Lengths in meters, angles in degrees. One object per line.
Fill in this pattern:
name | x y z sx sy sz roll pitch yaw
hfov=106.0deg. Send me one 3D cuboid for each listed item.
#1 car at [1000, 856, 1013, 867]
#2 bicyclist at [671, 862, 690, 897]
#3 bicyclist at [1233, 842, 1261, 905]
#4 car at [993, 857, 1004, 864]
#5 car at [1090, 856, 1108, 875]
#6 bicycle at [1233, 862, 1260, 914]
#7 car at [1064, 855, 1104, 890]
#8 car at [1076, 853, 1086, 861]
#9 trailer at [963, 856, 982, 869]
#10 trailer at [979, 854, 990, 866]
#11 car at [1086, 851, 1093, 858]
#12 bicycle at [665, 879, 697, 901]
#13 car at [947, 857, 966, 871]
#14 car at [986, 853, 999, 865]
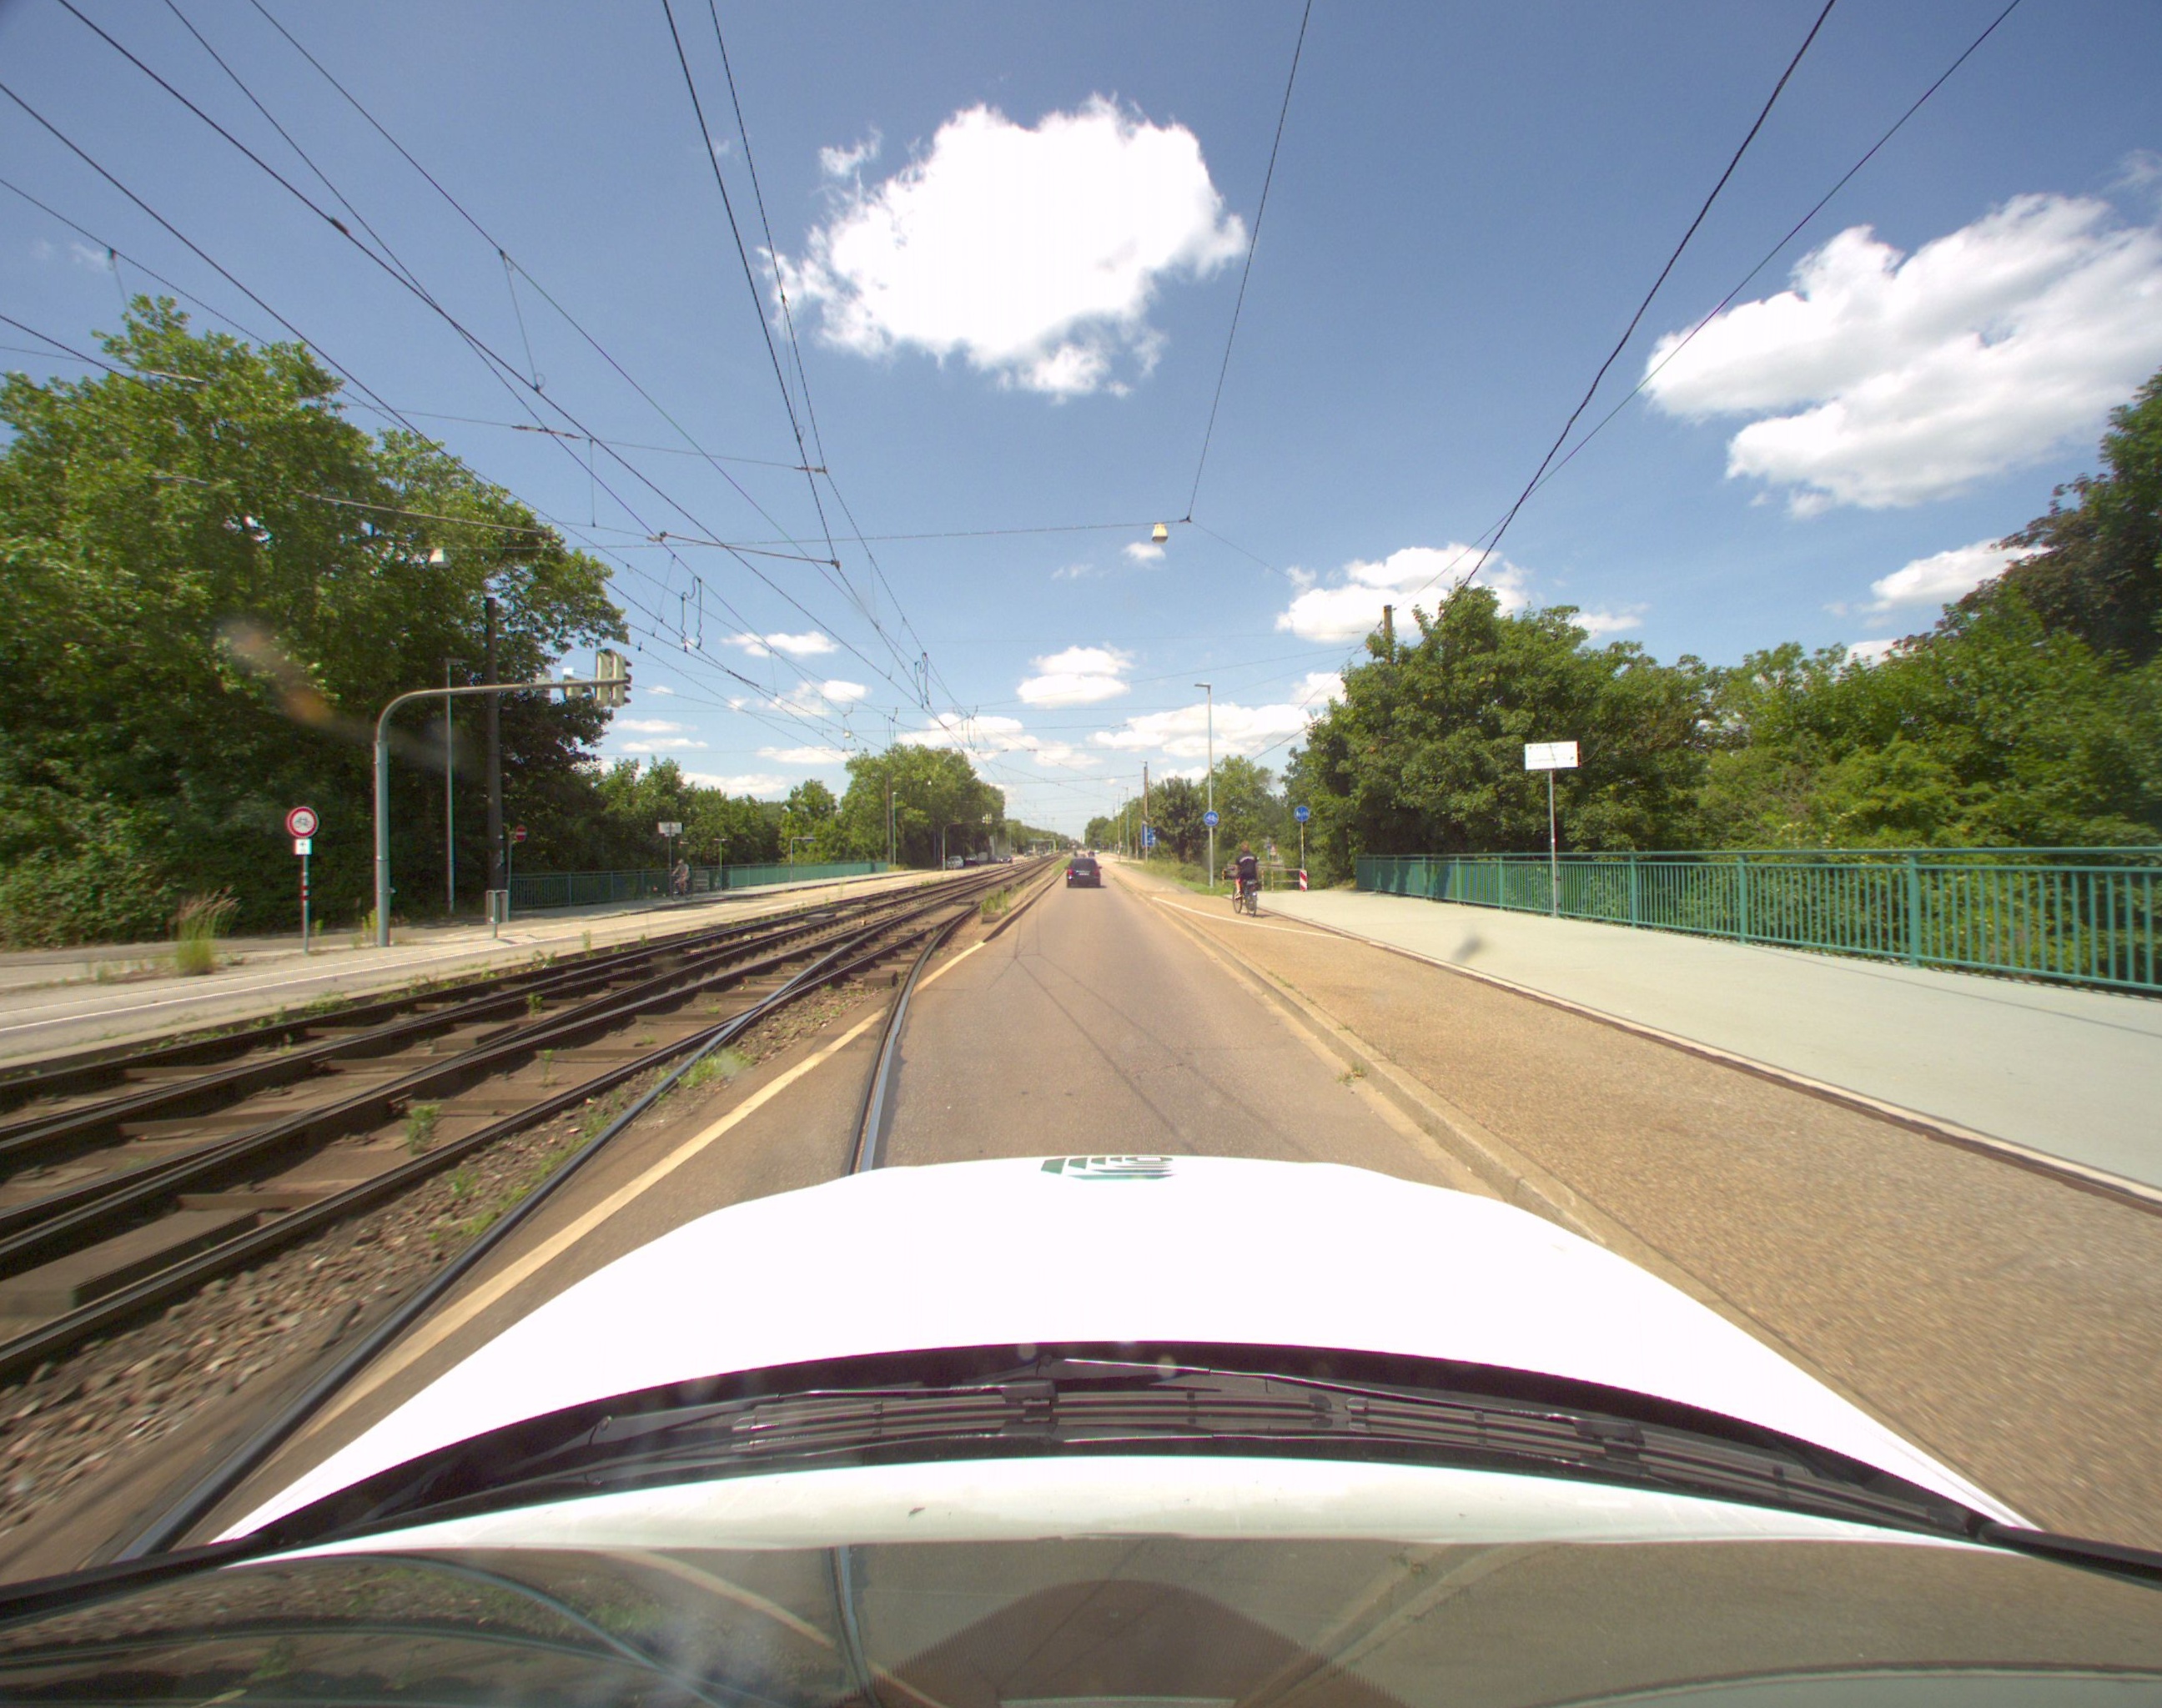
car | -12.581 1.282 137.989 1.869 1.720 5.328 0 0 -1
bicyclist | -17.112 1.103 34.820 0.454 1.474 0.633 0 -1 2
bicyclist | 4.061 0.465 19.964 0.582 1.495 0.558 1 1 4
car | -16.988 1.418 167.810 1.865 1.401 4.414 0 0 -2
car | 2.073 1.309 94.078 1.985 2.013 4.004 1 1 3
bicycle | 4.056 0.800 20.050 0.430 1.152 1.857 1 1 5
car | 0.222 0.934 42.911 1.845 1.570 4.393 0 2 3
car | 0.000 0.690 177.986 1.878 1.639 4.001 3 1 1
trailer | -16.070 1.198 120.611 2.457 1.889 5.952 0 0 -5
trailer | -16.685 1.093 141.048 1.606 2.013 3.912 1 0 -3
car | 2.485 0.196 239.608 1.781 2.013 4.000 1 1 0
bicycle | -17.101 1.543 34.840 0.467 0.868 1.744 0 0 2
car | -16.018 1.266 105.057 1.715 1.630 4.614 -3 1 -1
car | -16.883 0.961 155.672 1.848 2.013 4.001 1 1 0
